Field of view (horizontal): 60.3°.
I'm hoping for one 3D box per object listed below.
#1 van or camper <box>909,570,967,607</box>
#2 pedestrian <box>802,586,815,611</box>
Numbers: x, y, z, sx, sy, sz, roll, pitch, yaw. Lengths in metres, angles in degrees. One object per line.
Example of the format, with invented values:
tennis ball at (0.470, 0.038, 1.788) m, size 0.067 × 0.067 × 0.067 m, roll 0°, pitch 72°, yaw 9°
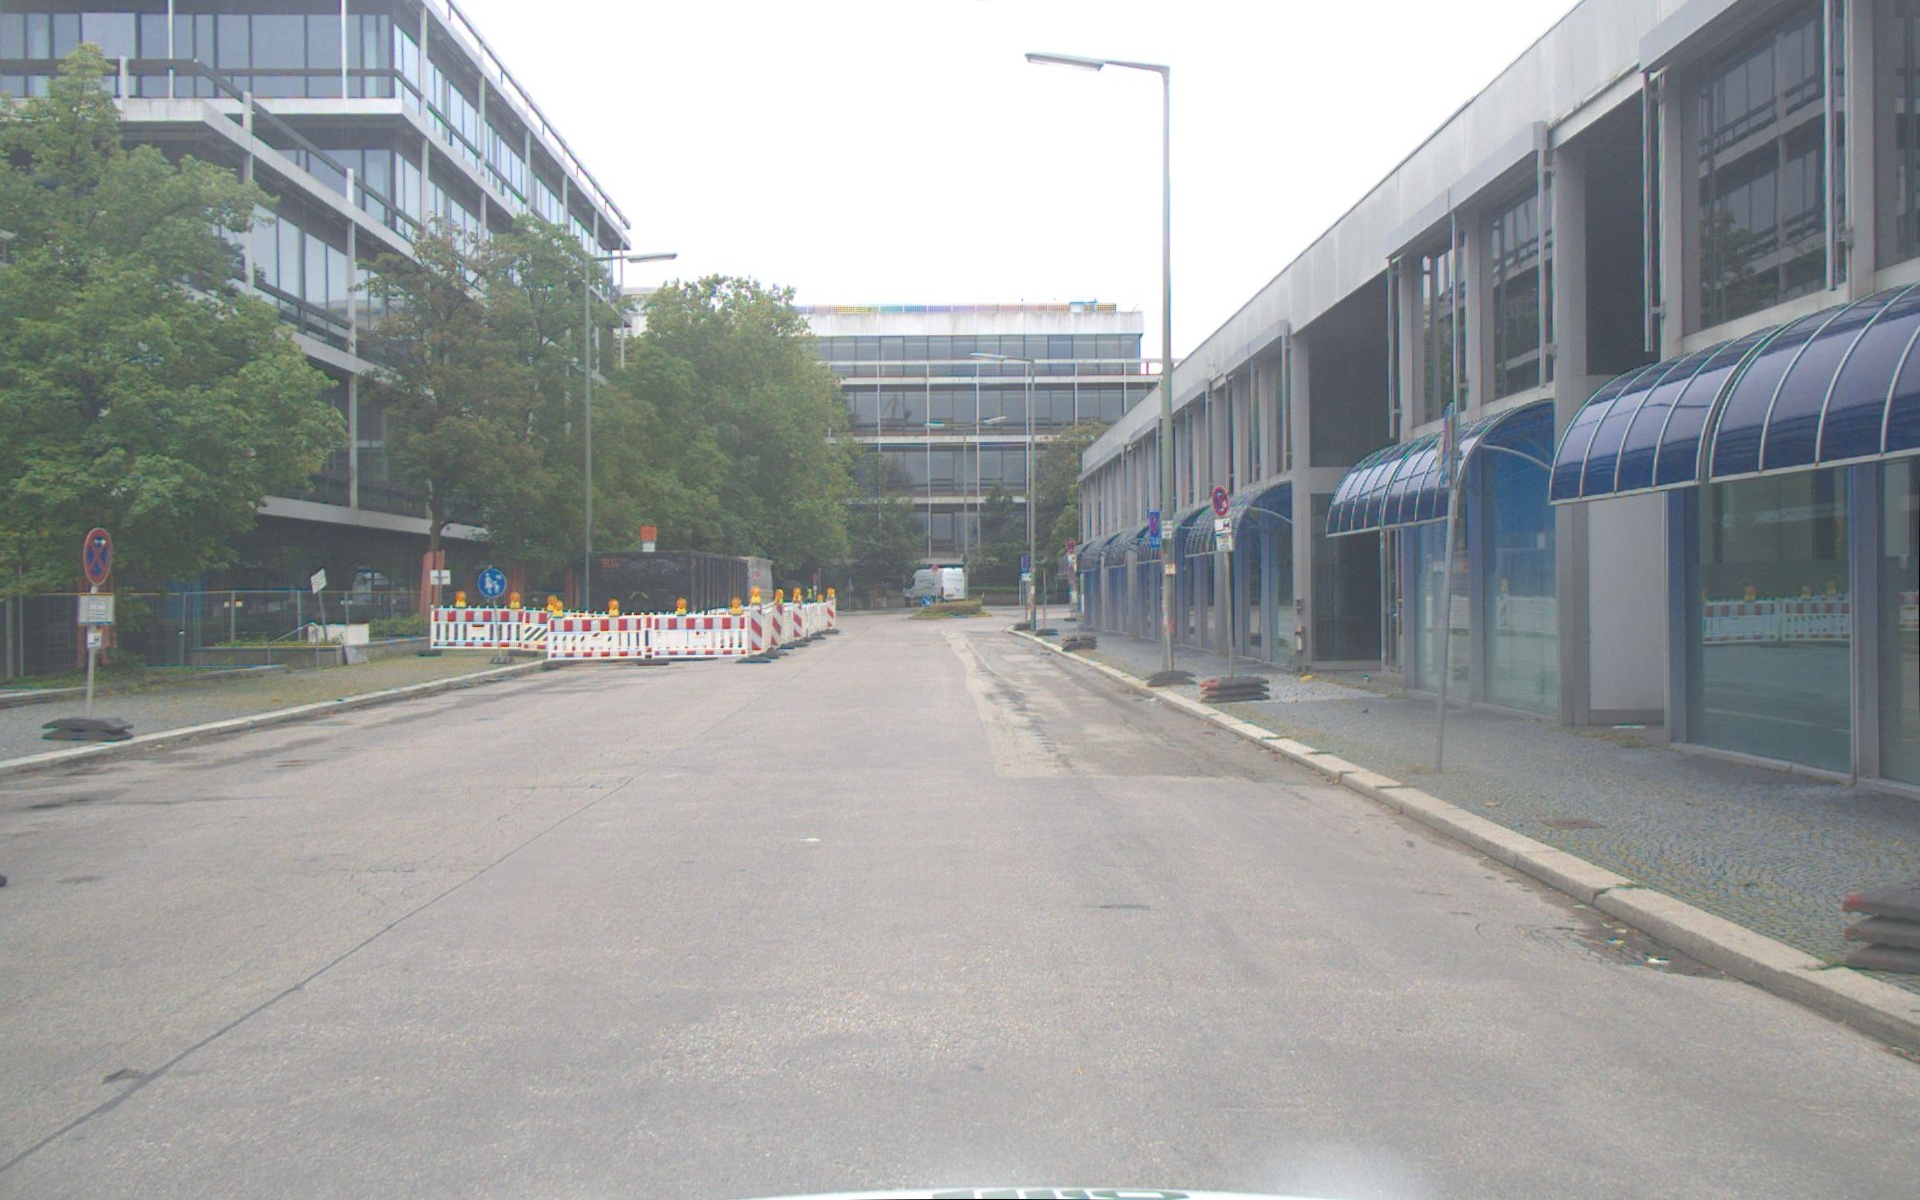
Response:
van or camper at (-1.544, -0.797, 114.403) m, size 2.060 × 2.535 × 5.024 m, roll -1°, pitch 0°, yaw -26°
pedestrian at (-10.349, -0.120, 113.011) m, size 0.730 × 1.706 × 0.678 m, roll -1°, pitch 0°, yaw -21°
